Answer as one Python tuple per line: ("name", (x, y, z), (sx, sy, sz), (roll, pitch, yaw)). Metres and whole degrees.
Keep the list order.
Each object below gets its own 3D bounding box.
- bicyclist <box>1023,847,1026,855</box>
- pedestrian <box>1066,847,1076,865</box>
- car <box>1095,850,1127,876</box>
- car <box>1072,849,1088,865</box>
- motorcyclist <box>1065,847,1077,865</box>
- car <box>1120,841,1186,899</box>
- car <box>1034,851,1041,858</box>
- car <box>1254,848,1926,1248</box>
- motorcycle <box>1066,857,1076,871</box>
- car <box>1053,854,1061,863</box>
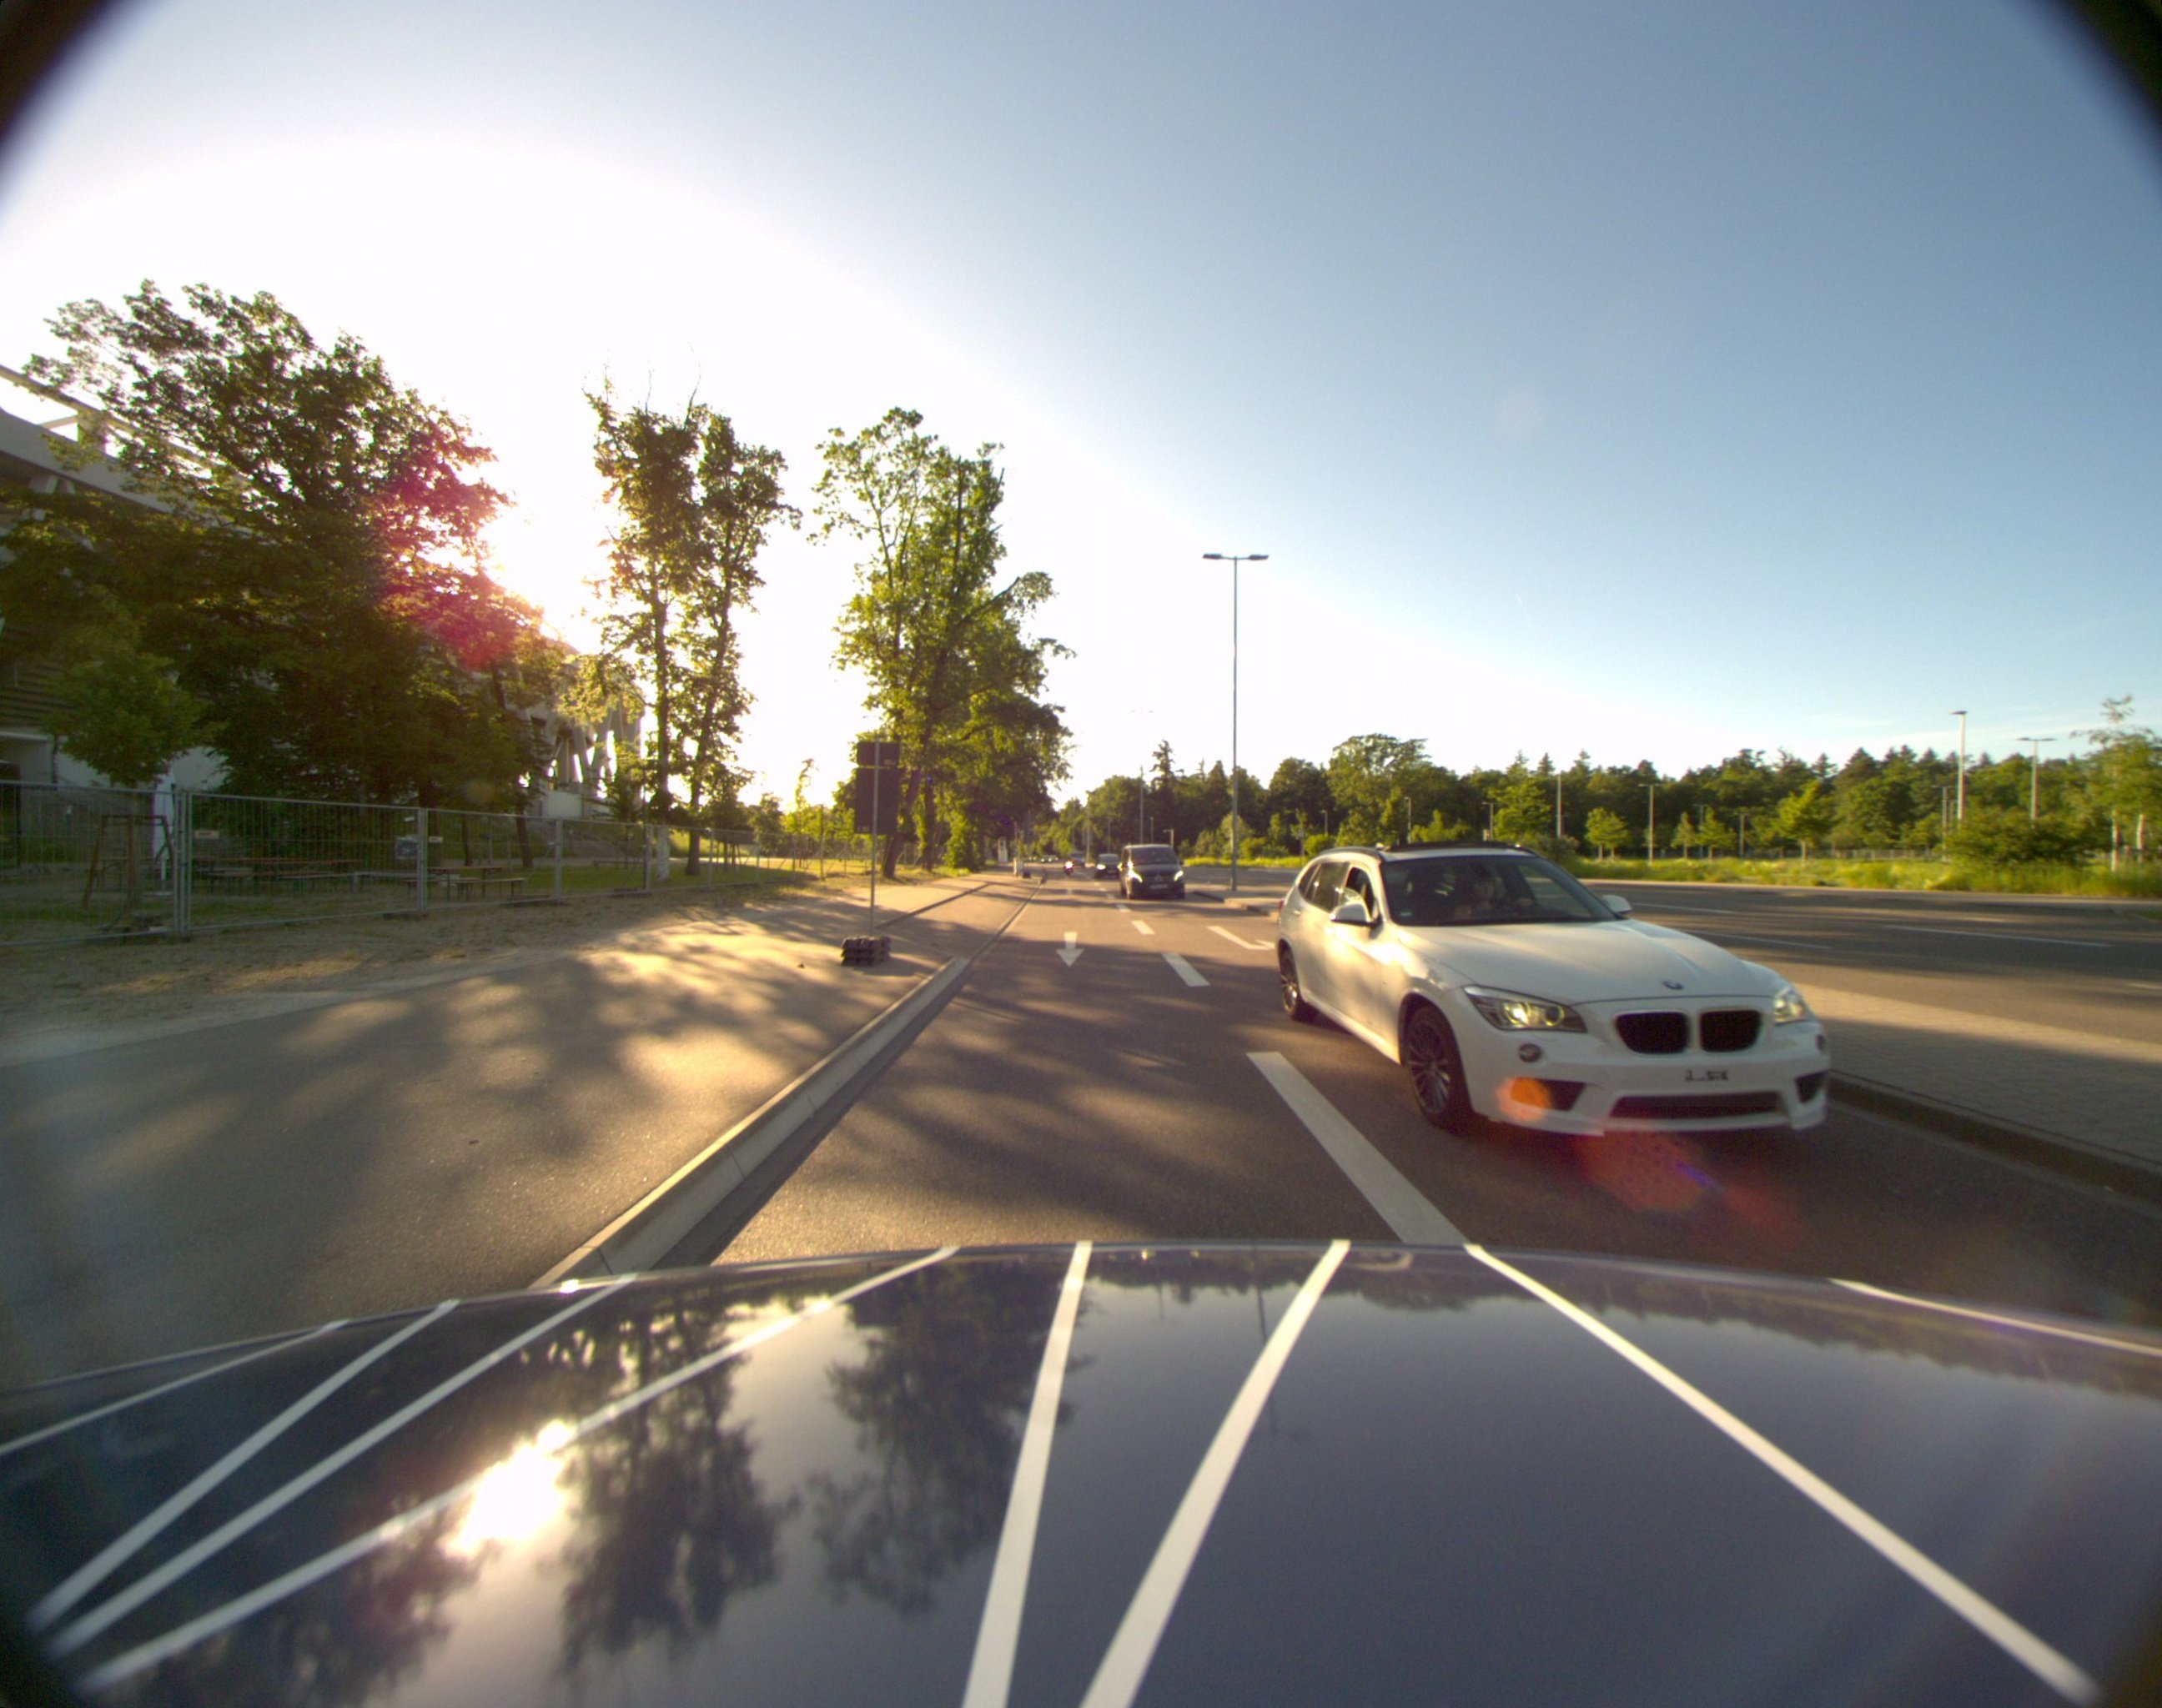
("bicyclist", (-10.075, -0.614, 136.277), (0.451, 1.412, 0.575), (0, 1, 0))
("pedestrian", (-0.807, 0.140, 60.284), (0.739, 1.387, 0.500), (-2, 1, 1))
("car", (1.938, 0.567, 49.684), (1.883, 1.528, 3.999), (-2, 1, 0))
("car", (-0.128, 0.373, 95.193), (1.883, 1.951, 5.048), (-2, 0, 0))
("motorcyclist", (-0.794, 0.158, 59.780), (0.822, 1.367, 0.476), (-2, 1, 1))
("car", (2.490, 0.531, 27.361), (1.912, 1.845, 4.873), (-2, 0, 1))
("car", (-12.874, 0.117, 223.956), (1.774, 1.849, 3.999), (-2, 1, 1))
("car", (2.644, 0.793, 5.386), (1.723, 1.572, 4.432), (-2, 1, -1))
("motorcycle", (-0.786, 0.802, 60.267), (0.717, 1.058, 2.721), (-2, 0, 1))
("car", (-5.497, 1.003, 173.254), (1.675, 1.827, 3.982), (-2, 1, 1))
